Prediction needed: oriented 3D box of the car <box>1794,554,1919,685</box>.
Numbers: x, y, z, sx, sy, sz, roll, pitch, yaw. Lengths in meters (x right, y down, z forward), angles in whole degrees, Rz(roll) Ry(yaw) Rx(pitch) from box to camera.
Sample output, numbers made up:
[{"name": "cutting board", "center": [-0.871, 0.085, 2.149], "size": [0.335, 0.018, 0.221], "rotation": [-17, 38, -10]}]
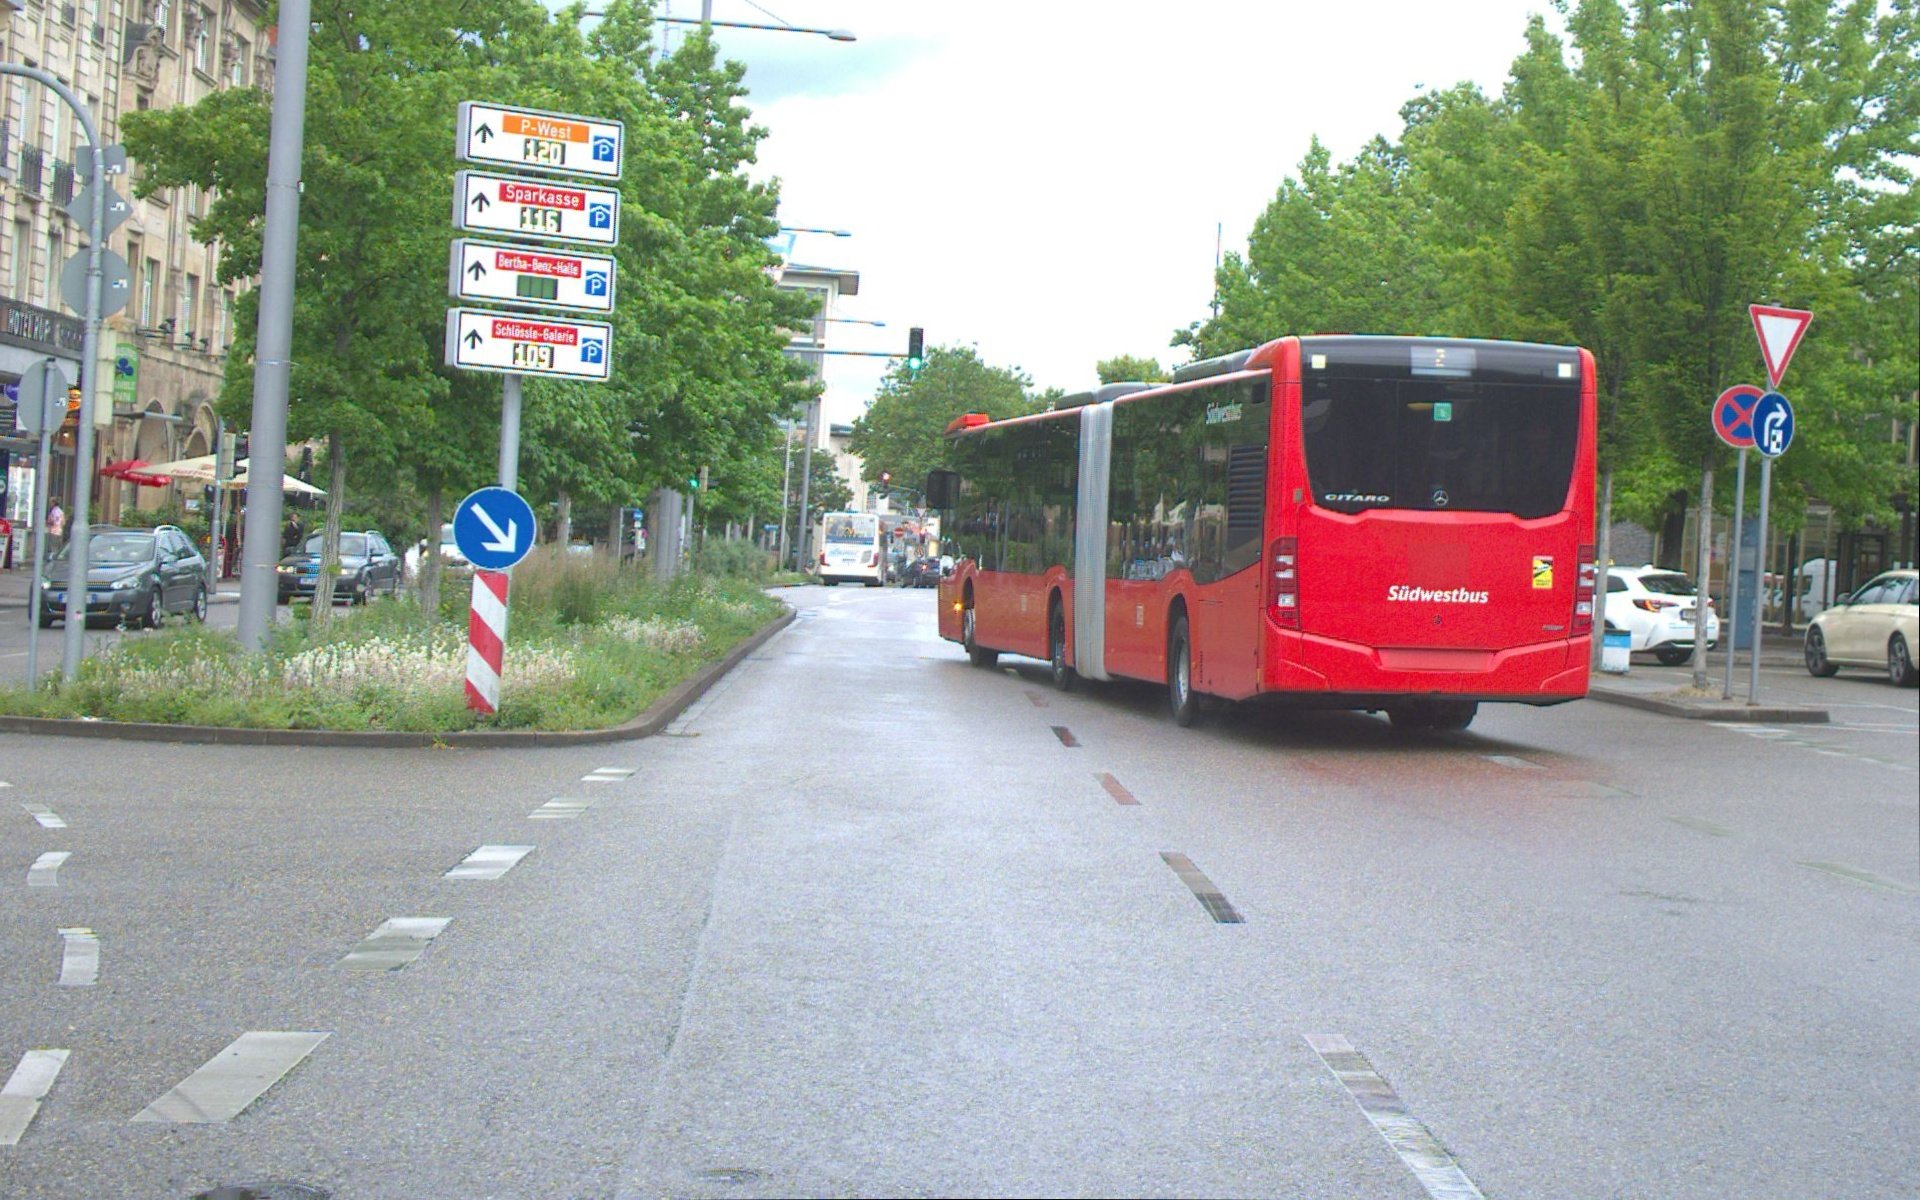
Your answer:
[{"name": "car", "center": [12.610, 0.231, 44.300], "size": [1.993, 1.594, 4.824], "rotation": [1, 1, -7]}]

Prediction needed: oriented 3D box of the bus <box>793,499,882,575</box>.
[{"name": "bus", "center": [-5.534, -2.850, 155.862], "size": [3.760, 3.198, 15.527], "rotation": [1, 1, -2]}]

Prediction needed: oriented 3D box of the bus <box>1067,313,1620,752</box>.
[{"name": "bus", "center": [2.952, -0.559, 29.272], "size": [2.742, 3.163, 8.122], "rotation": [1, 1, -8]}]

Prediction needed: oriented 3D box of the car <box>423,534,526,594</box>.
[{"name": "car", "center": [-11.671, -0.869, 82.896], "size": [1.755, 1.364, 4.060], "rotation": [2, 1, 2]}]

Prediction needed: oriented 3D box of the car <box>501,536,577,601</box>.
[{"name": "car", "center": [-11.776, -0.902, 96.418], "size": [1.993, 1.752, 4.001], "rotation": [1, 1, -6]}]

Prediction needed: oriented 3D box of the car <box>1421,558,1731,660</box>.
[{"name": "car", "center": [9.103, 0.108, 51.067], "size": [1.774, 1.380, 4.366], "rotation": [0, 1, -41]}]

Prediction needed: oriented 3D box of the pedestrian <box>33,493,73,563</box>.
[{"name": "pedestrian", "center": [-19.679, -1.567, 74.550], "size": [0.661, 1.505, 0.519], "rotation": [1, 1, -38]}]

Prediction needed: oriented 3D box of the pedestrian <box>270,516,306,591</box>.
[{"name": "pedestrian", "center": [-15.251, -1.054, 78.031], "size": [0.674, 1.696, 0.634], "rotation": [2, 1, -1]}]

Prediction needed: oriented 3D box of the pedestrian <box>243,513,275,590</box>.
[{"name": "pedestrian", "center": [-15.905, -1.105, 77.998], "size": [0.575, 1.726, 0.609], "rotation": [2, 1, -1]}]

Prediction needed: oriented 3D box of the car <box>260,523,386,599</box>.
[{"name": "car", "center": [-12.262, -0.775, 66.372], "size": [1.755, 1.364, 4.060], "rotation": [1, 2, -2]}]

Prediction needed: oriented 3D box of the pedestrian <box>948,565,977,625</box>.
[{"name": "pedestrian", "center": [0.074, -0.138, 98.725], "size": [0.758, 1.695, 0.559], "rotation": [2, 1, 6]}]

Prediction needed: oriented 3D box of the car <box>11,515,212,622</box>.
[{"name": "car", "center": [-12.208, -0.471, 49.691], "size": [1.755, 1.436, 4.060], "rotation": [2, 1, 2]}]

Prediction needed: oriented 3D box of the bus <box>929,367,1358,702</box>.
[{"name": "bus", "center": [1.727, -0.715, 38.089], "size": [2.742, 3.163, 10.197], "rotation": [1, 1, -8]}]
